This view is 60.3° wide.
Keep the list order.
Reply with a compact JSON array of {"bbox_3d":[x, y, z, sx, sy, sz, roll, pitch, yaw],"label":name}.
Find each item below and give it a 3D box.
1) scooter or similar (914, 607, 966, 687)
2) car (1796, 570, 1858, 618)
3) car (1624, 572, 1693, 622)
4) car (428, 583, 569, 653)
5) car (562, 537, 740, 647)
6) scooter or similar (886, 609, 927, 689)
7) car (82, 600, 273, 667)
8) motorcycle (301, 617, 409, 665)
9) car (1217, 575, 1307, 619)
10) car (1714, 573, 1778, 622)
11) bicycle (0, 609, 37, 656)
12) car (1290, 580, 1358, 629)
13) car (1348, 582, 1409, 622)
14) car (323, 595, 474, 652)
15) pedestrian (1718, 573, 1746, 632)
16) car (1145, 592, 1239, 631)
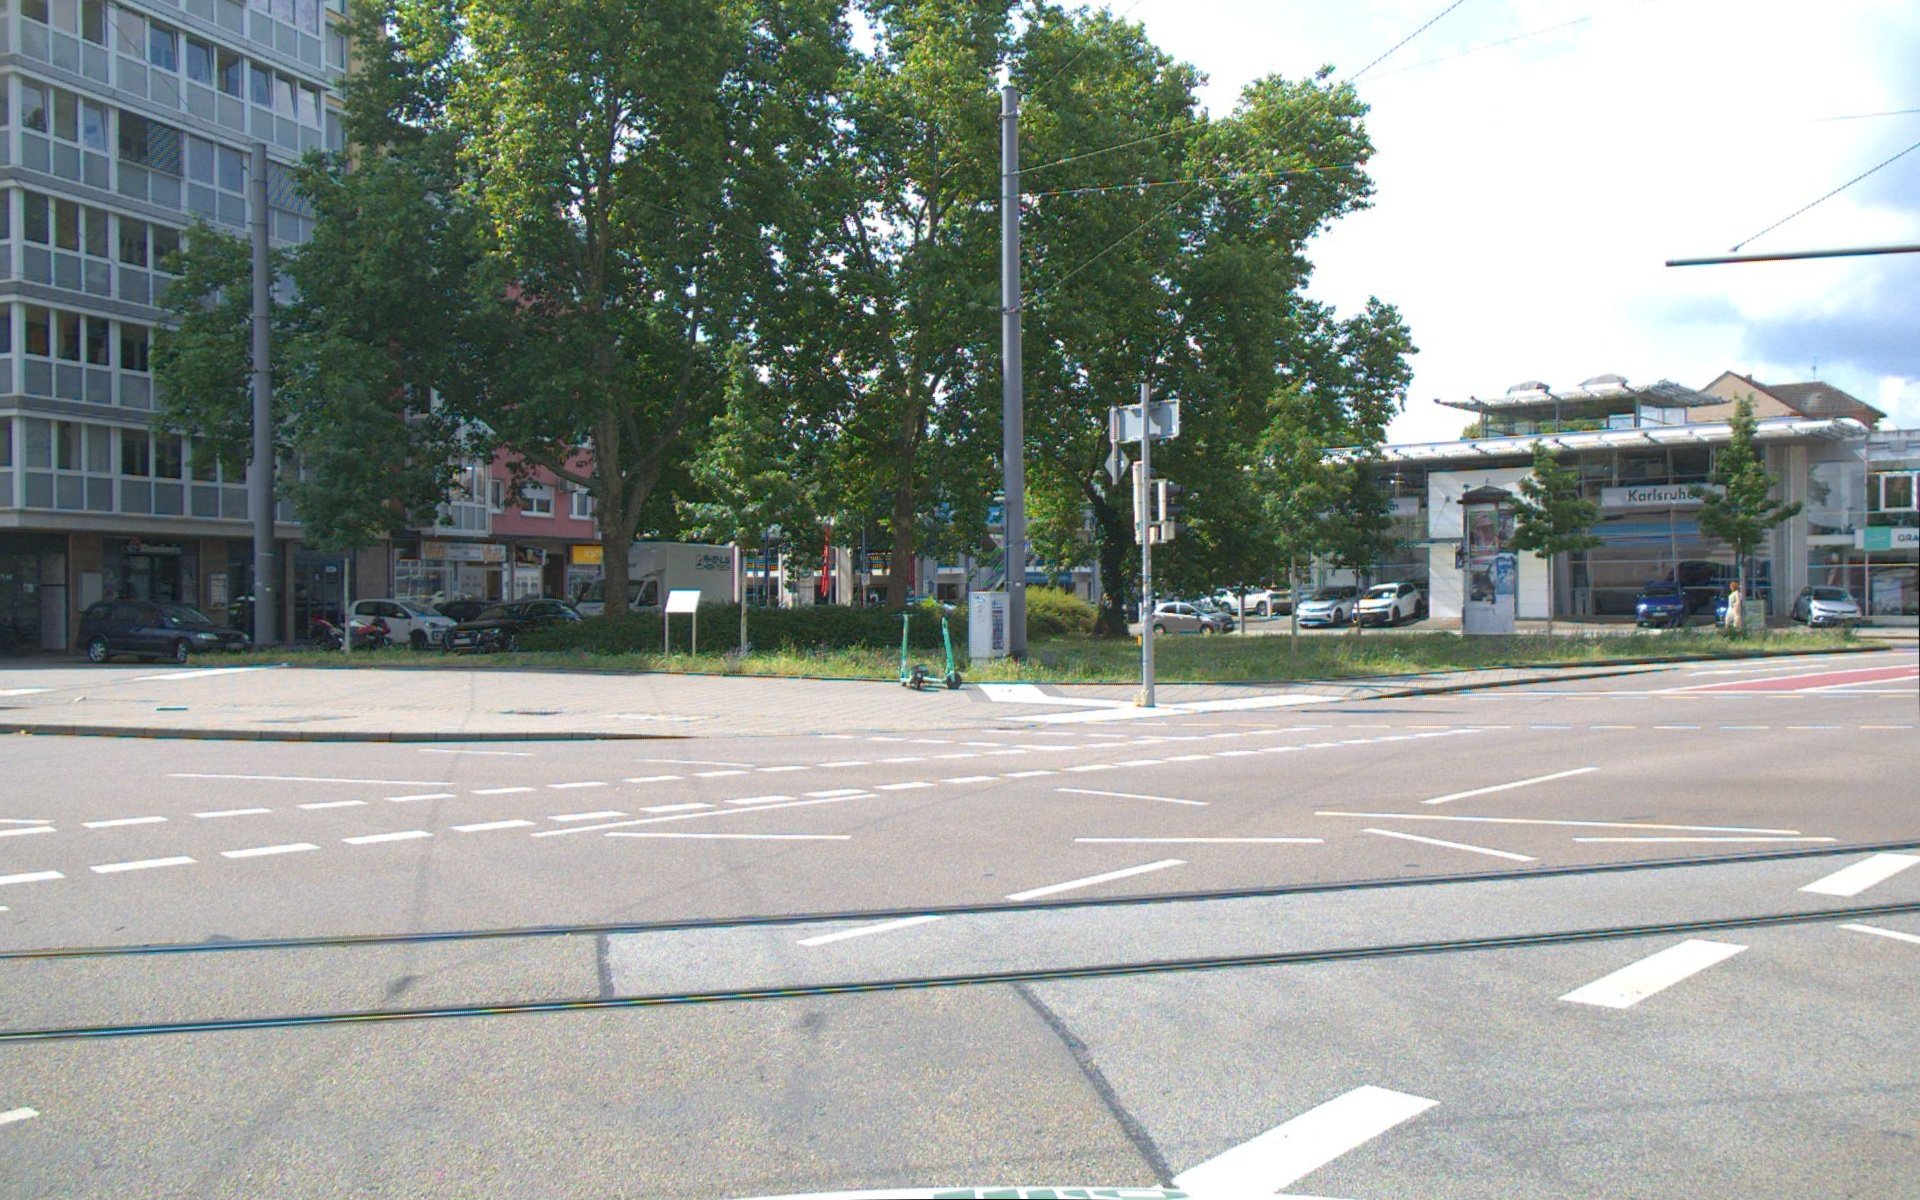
[{"bbox_3d":[-0.324,0.740,26.303,0.376,1.217,1.055,1,1,-27],"label":"scooter or similar"},{"bbox_3d":[32.592,-0.228,62.256,1.890,1.713,3.996,2,1,26],"label":"car"},{"bbox_3d":[27.277,-0.114,64.503,1.957,1.870,3.991,-1,-1,31],"label":"car"},{"bbox_3d":[-12.020,0.425,43.383,1.951,1.735,4.004,-1,0,11],"label":"car"},{"bbox_3d":[-9.228,-0.233,50.325,1.952,3.096,7.251,-1,0,19],"label":"car"},{"bbox_3d":[-0.856,0.765,26.275,0.374,1.217,1.060,1,1,-17],"label":"scooter or similar"},{"bbox_3d":[-18.761,0.794,39.677,3.996,1.541,1.810,-1,0,18],"label":"car"},{"bbox_3d":[-13.701,0.927,37.445,2.255,1.048,0.968,0,-2,-23],"label":"motorcycle"},{"bbox_3d":[14.977,-0.166,82.183,3.927,2.049,1.989,2,1,41],"label":"car"},{"bbox_3d":[30.211,-0.104,63.519,1.956,1.755,3.993,2,1,29],"label":"car"},{"bbox_3d":[-23.767,0.803,41.109,0.580,1.149,1.347,1,1,22],"label":"bicycle"},{"bbox_3d":[16.160,0.173,73.314,1.955,2.048,3.996,3,1,27],"label":"car"},{"bbox_3d":[18.274,0.068,72.176,1.750,1.712,3.996,0,0,27],"label":"car"},{"bbox_3d":[-16.860,0.682,49.677,3.997,1.540,1.810,2,1,18],"label":"car"},{"bbox_3d":[27.256,0.094,58.387,0.793,2.049,0.806,1,0,31],"label":"pedestrian"},{"bbox_3d":[9.949,0.480,70.951,3.609,1.513,1.667,3,2,36],"label":"car"}]
